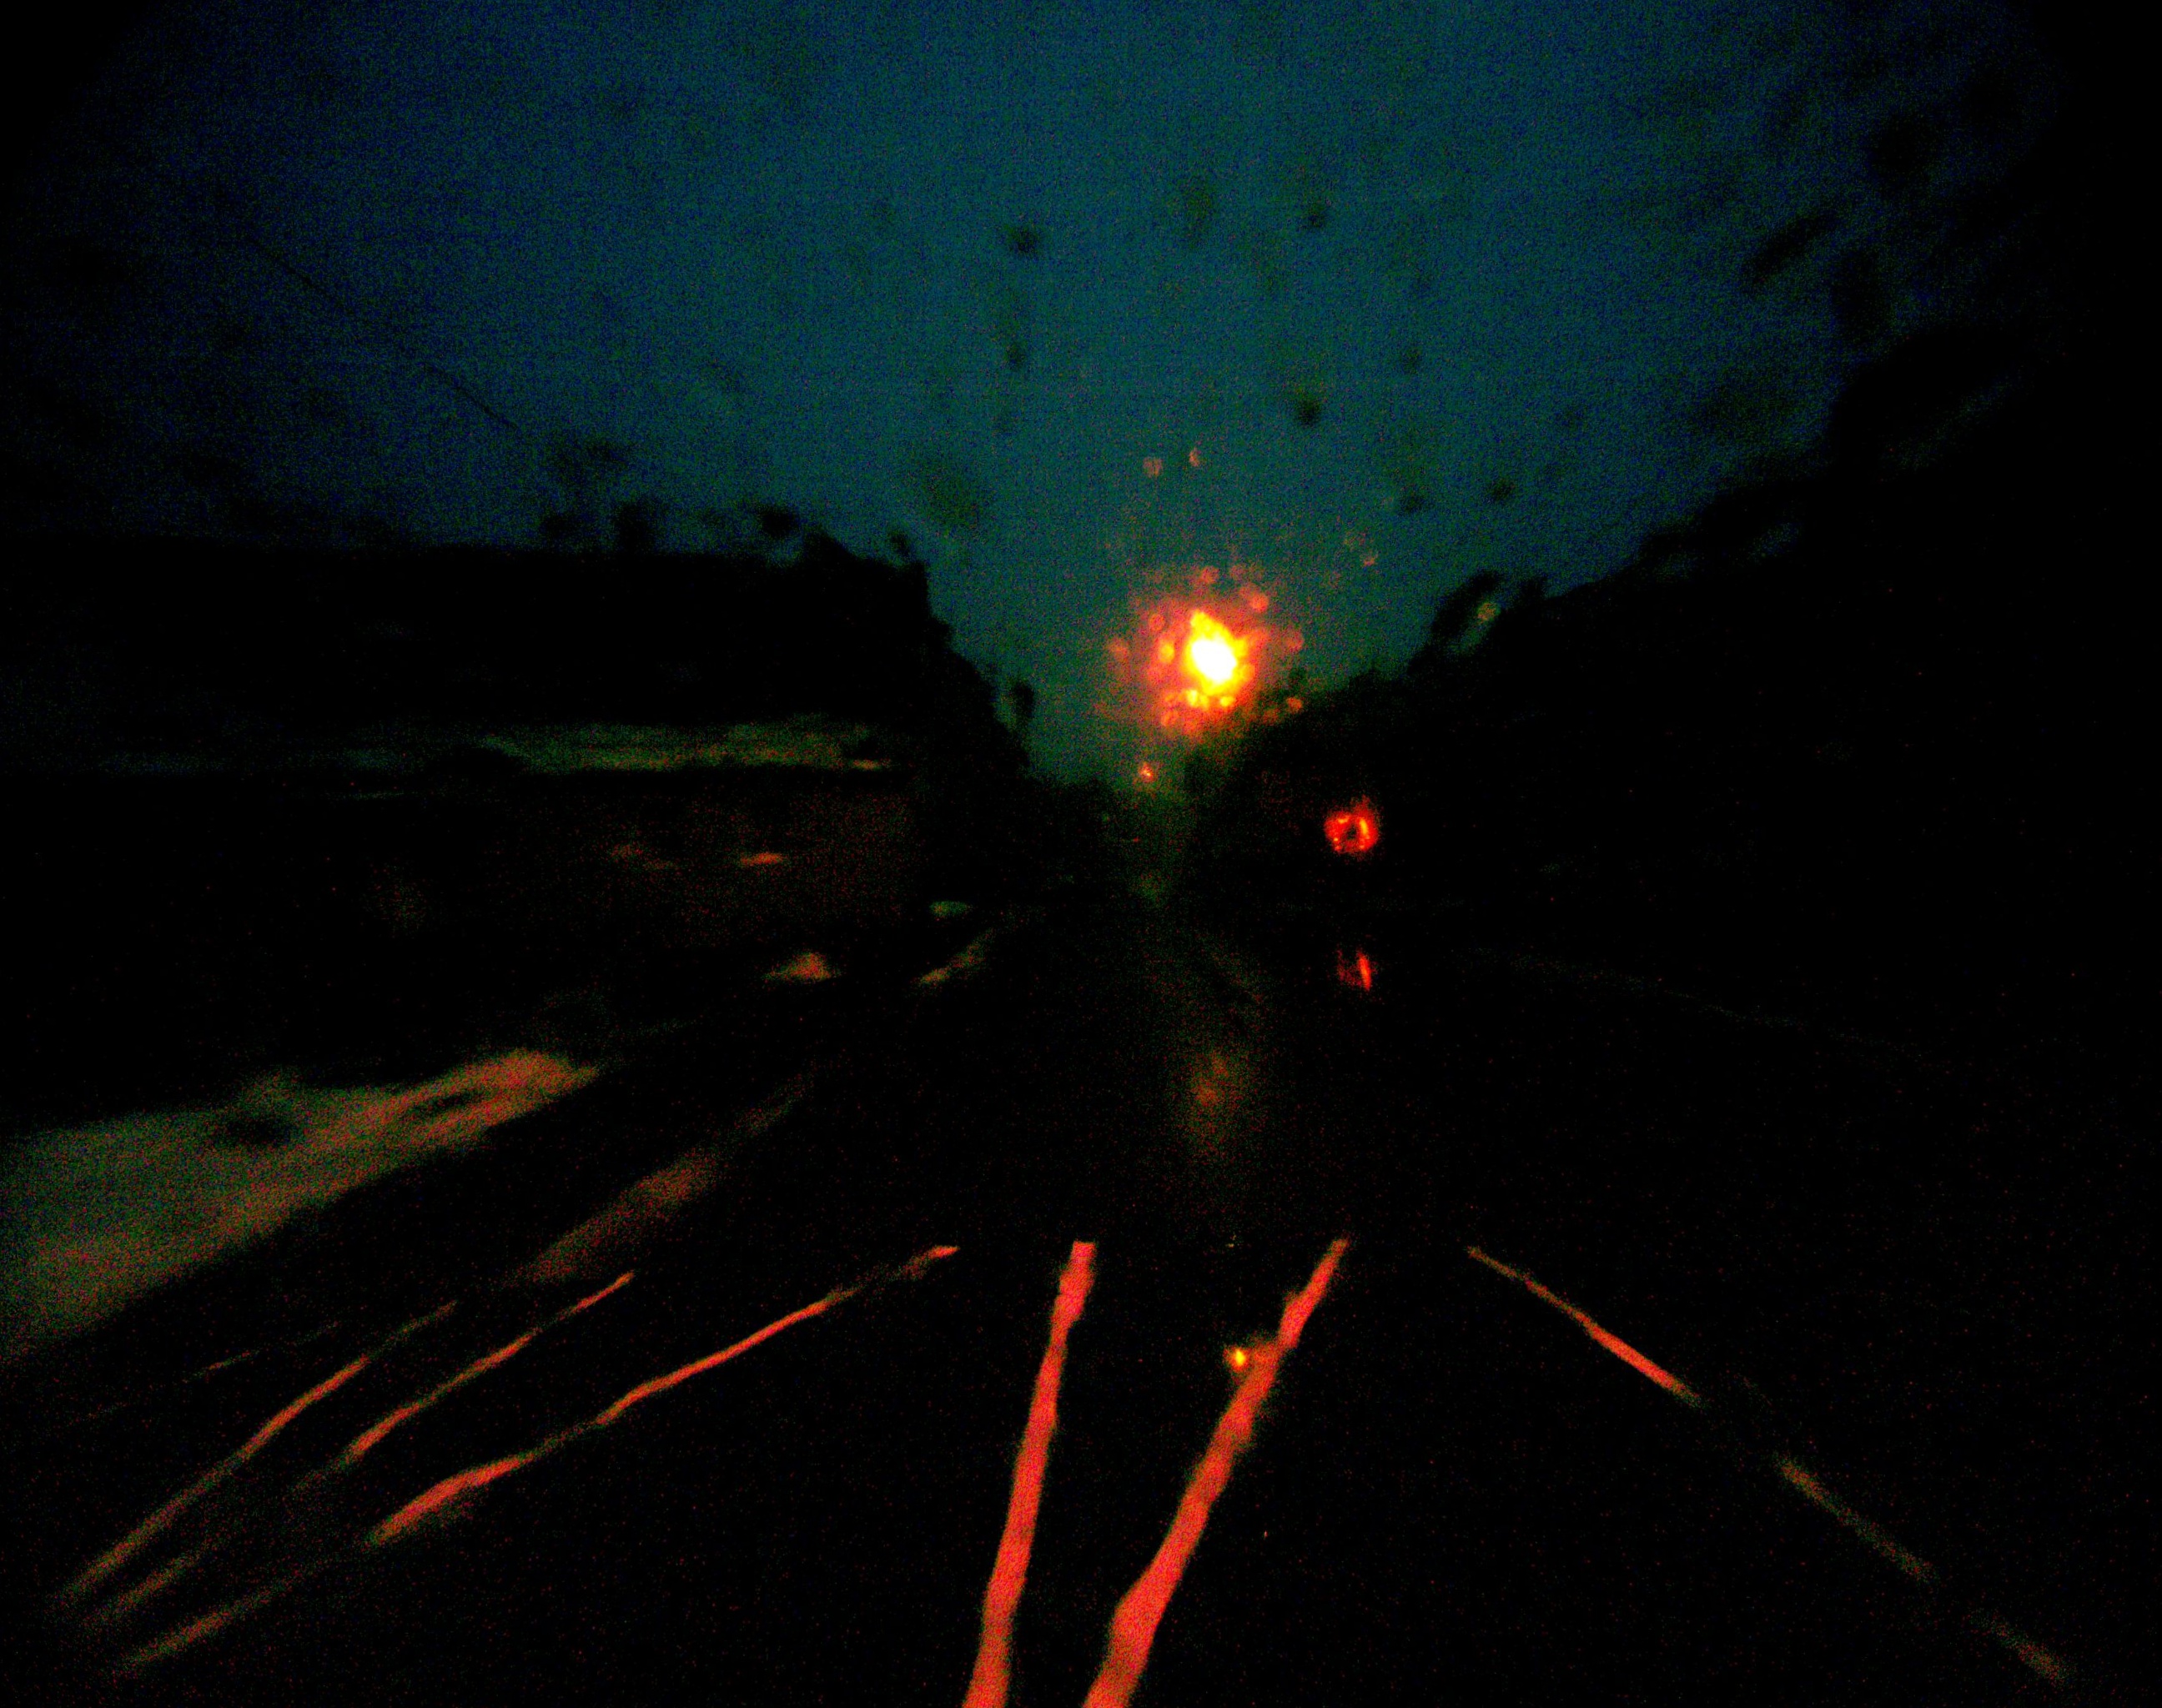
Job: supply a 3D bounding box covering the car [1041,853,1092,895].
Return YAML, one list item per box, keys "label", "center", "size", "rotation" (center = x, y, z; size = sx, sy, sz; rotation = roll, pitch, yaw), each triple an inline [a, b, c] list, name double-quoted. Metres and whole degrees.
- label: "car"
  center: [-0.529, 0.760, 30.149]
  size: [1.720, 1.491, 3.907]
  rotation: [-1, 1, 3]

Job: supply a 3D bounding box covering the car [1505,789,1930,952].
- label: "car"
  center: [8.781, 0.275, 11.207]
  size: [1.770, 1.726, 4.637]
  rotation: [-6, -1, -9]

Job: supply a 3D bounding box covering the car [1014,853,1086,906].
- label: "car"
  center: [-0.916, 0.767, 24.868]
  size: [1.915, 1.472, 4.282]
  rotation: [-2, 1, 3]
